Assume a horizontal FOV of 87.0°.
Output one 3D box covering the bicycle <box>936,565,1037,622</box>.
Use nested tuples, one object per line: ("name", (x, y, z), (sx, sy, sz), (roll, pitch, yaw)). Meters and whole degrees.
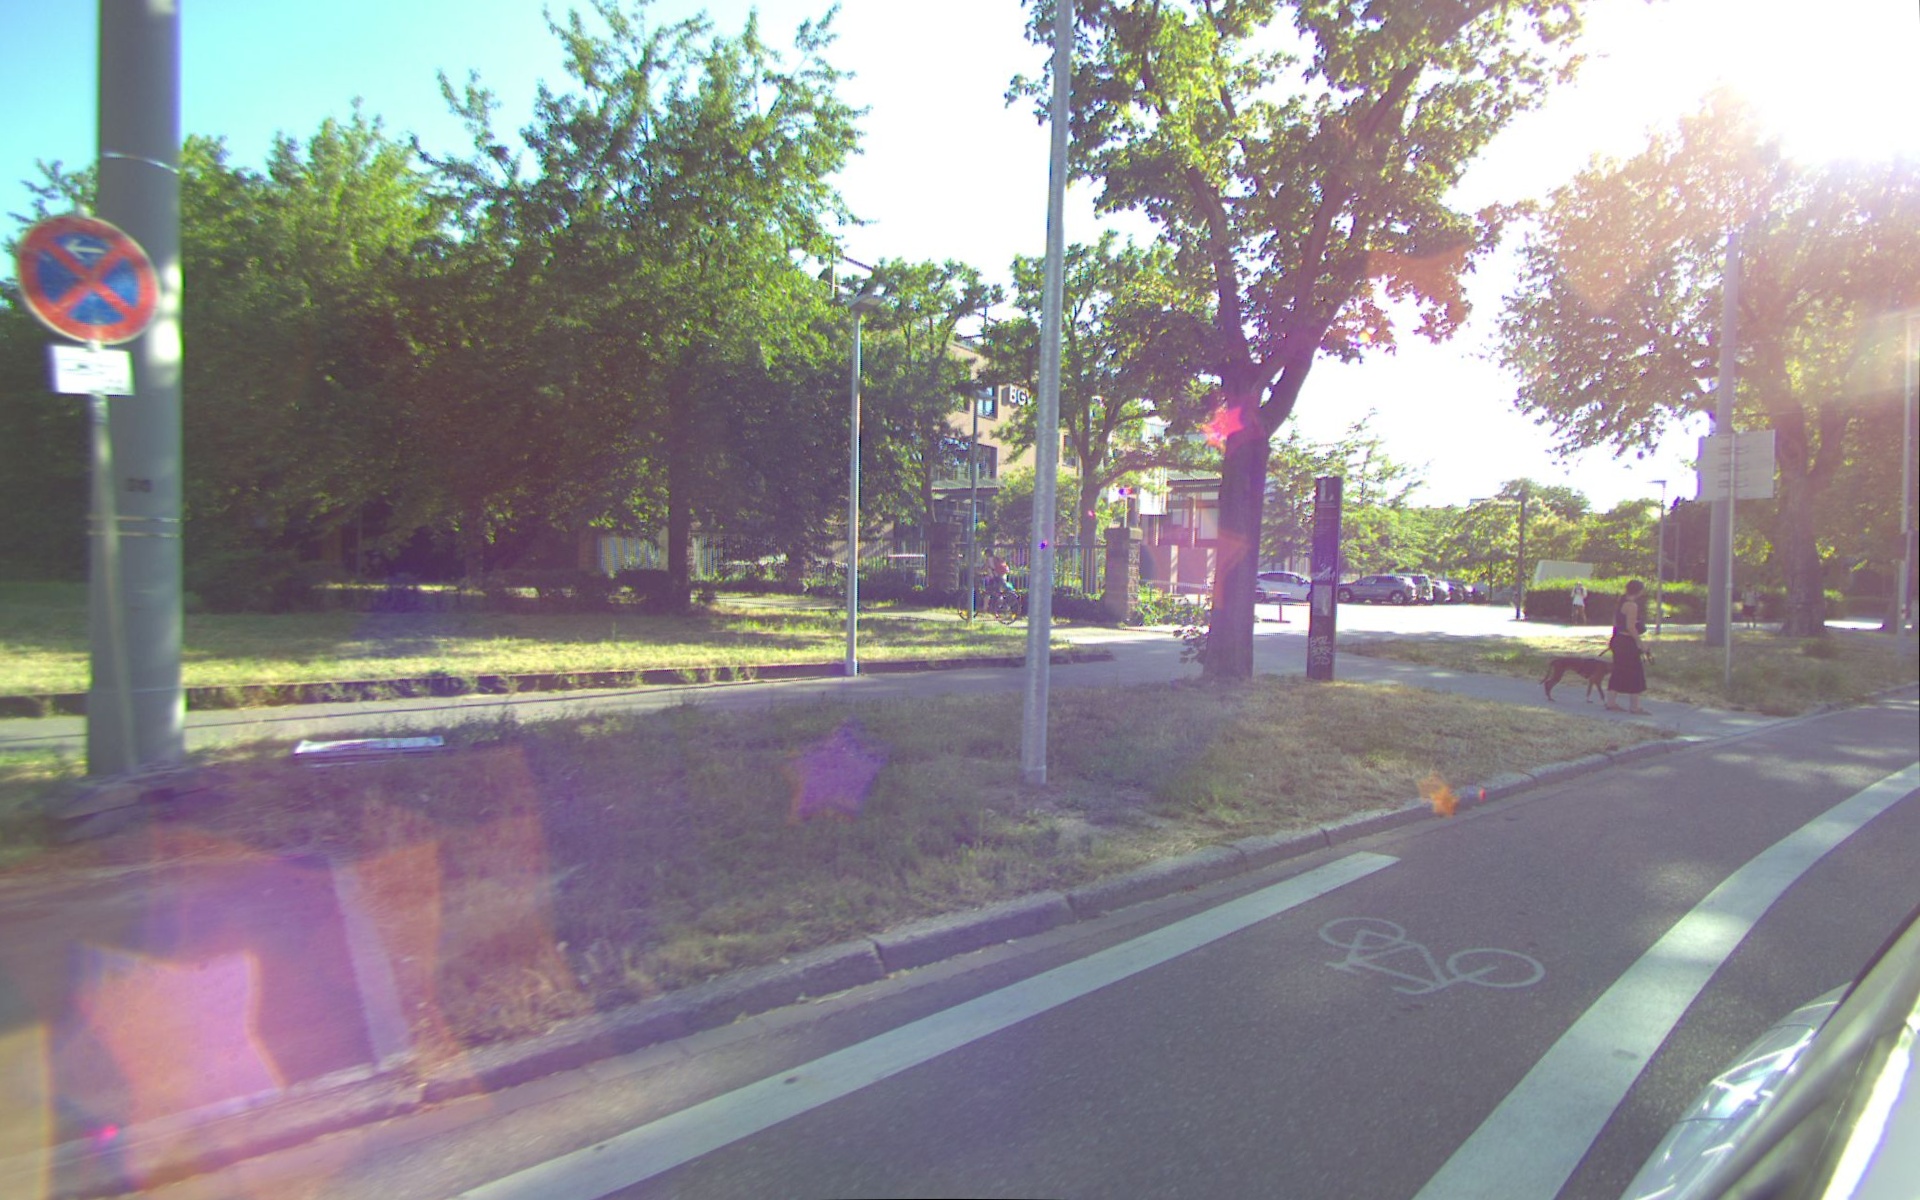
("bicycle", (0.573, -0.166, 22.584), (2.278, 1.069, 0.611), (6, 4, 37))

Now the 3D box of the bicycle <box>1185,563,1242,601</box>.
("bicycle", (9.825, -0.697, 39.220), (2.591, 1.407, 0.746), (0, 2, -41))

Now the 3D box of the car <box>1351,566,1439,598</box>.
("car", (24.492, -1.035, 57.029), (4.352, 1.645, 1.781), (3, 2, 30))

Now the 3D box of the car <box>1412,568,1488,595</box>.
("car", (32.017, -1.231, 66.185), (4.352, 1.645, 1.781), (3, 2, 30))

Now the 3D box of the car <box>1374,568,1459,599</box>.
("car", (26.471, -0.973, 58.746), (4.352, 1.645, 1.781), (3, 2, 30))

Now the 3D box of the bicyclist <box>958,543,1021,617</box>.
("bicyclist", (0.643, -0.460, 22.521), (1.200, 1.558, 0.611), (5, 3, 37))

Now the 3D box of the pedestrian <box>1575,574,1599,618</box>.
("pedestrian", (21.508, -0.136, 34.720), (0.504, 1.460, 0.550), (0, 2, -41))

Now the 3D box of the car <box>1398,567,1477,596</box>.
("car", (30.028, -1.181, 63.674), (4.352, 1.645, 1.781), (3, 2, 30))

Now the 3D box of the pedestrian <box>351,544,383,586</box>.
("pedestrian", (-25.605, -1.489, 43.696), (0.823, 1.778, 1.012), (-1, 0, 41))

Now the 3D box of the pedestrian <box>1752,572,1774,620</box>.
("pedestrian", (31.163, -0.159, 39.278), (0.555, 1.864, 0.502), (0, 2, -40))

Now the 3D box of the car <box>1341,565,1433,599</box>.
("car", (22.935, -0.989, 54.336), (4.352, 1.645, 1.781), (3, 2, 30))

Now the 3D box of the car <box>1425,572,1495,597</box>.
("car", (35.788, -1.108, 72.459), (4.352, 1.645, 1.781), (3, 2, 30))

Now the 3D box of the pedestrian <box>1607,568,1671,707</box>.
("pedestrian", (8.531, 0.453, 12.725), (0.527, 1.683, 0.482), (4, 2, 29))

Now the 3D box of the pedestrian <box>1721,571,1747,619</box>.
("pedestrian", (30.562, -0.199, 39.967), (0.555, 1.864, 0.645), (0, 2, -40))

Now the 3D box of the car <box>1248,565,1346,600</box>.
("car", (16.184, -0.885, 48.654), (4.121, 1.529, 1.779), (3, 2, 34))
